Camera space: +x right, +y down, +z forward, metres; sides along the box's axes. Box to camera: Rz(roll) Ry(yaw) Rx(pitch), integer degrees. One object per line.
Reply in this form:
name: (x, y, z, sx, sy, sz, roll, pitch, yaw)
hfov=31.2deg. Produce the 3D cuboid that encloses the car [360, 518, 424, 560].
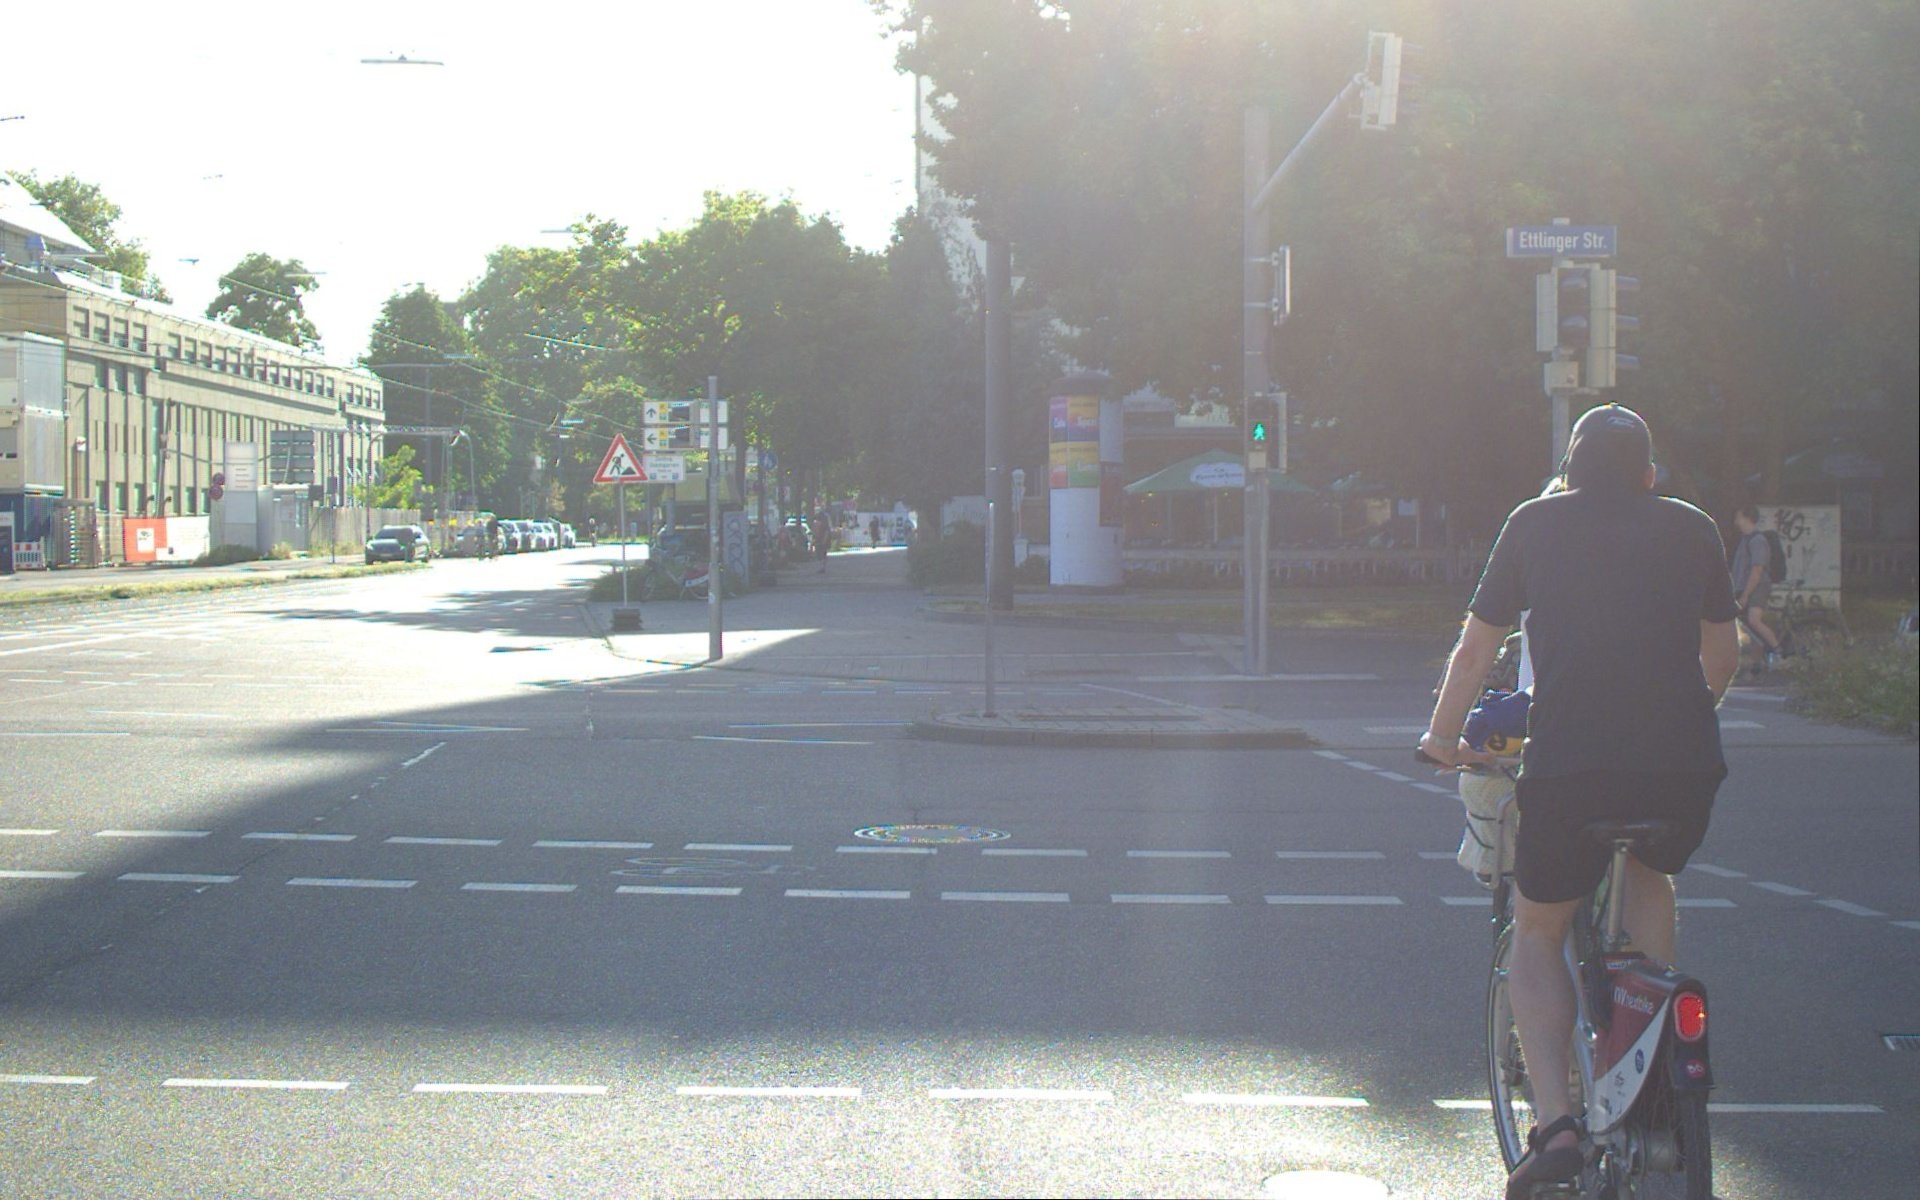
car: (-22.072, -2.374, 133.690, 1.993, 1.593, 4.001, 0, 1, -3)

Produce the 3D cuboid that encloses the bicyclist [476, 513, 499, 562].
bicyclist: (-19.026, -2.512, 138.330, 0.750, 1.913, 1.215, 1, 0, -2)

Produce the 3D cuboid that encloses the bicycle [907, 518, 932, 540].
bicycle: (-2.345, -4.094, 198.421, 0.890, 1.215, 2.794, 1, 1, -12)

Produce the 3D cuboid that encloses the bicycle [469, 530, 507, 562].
bicycle: (-18.103, -2.058, 131.884, 0.751, 1.201, 3.107, 1, 1, 5)

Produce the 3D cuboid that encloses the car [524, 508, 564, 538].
car: (-23.294, -4.316, 192.636, 1.993, 1.638, 4.001, 0, 1, -4)

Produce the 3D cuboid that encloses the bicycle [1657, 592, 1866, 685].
bicycle: (7.997, 0.375, 34.351, 1.944, 0.886, 0.718, 1, 0, 6)

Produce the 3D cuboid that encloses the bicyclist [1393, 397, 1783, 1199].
bicyclist: (1.315, 0.441, 7.329, 0.623, 1.709, 0.913, 0, 1, -3)

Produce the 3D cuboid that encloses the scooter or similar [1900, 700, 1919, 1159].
scooter or similar: (2.735, 0.847, 8.149, 0.573, 1.145, 1.272, 1, 1, -3)

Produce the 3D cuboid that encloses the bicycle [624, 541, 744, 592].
bicycle: (-5.238, -0.633, 65.171, 2.244, 0.937, 0.654, 0, 1, -5)

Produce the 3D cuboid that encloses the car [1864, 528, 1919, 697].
car: (10.864, 0.139, 31.545, 4.576, 1.511, 2.000, 1, 1, 0)

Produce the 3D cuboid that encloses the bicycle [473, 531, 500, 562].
bicycle: (-19.027, -2.150, 138.228, 0.750, 1.201, 3.108, 1, 1, -2)

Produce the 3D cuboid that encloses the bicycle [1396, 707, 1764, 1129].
bicycle: (1.779, 0.880, 10.110, 0.582, 1.040, 1.747, 0, 1, -7)

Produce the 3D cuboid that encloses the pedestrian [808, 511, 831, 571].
pedestrian: (-3.895, -1.641, 95.520, 0.576, 1.683, 0.585, 0, 1, -8)

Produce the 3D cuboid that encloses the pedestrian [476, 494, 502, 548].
pedestrian: (-18.085, -3.015, 131.942, 0.751, 2.056, 1.050, 1, 0, 5)

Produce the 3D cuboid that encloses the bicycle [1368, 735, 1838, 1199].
bicycle: (1.316, 0.860, 7.343, 0.623, 1.040, 1.747, 0, 1, -2)

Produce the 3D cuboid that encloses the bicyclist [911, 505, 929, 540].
bicyclist: (-2.323, -4.483, 198.320, 0.890, 2.007, 0.749, 1, 0, -12)

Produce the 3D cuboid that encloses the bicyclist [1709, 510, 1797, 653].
bicyclist: (7.918, -0.189, 34.349, 0.747, 1.401, 0.702, 1, 0, 6)

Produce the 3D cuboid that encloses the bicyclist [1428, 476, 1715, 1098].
bicyclist: (1.774, 0.513, 10.076, 0.583, 1.732, 0.950, 0, 1, -6)
